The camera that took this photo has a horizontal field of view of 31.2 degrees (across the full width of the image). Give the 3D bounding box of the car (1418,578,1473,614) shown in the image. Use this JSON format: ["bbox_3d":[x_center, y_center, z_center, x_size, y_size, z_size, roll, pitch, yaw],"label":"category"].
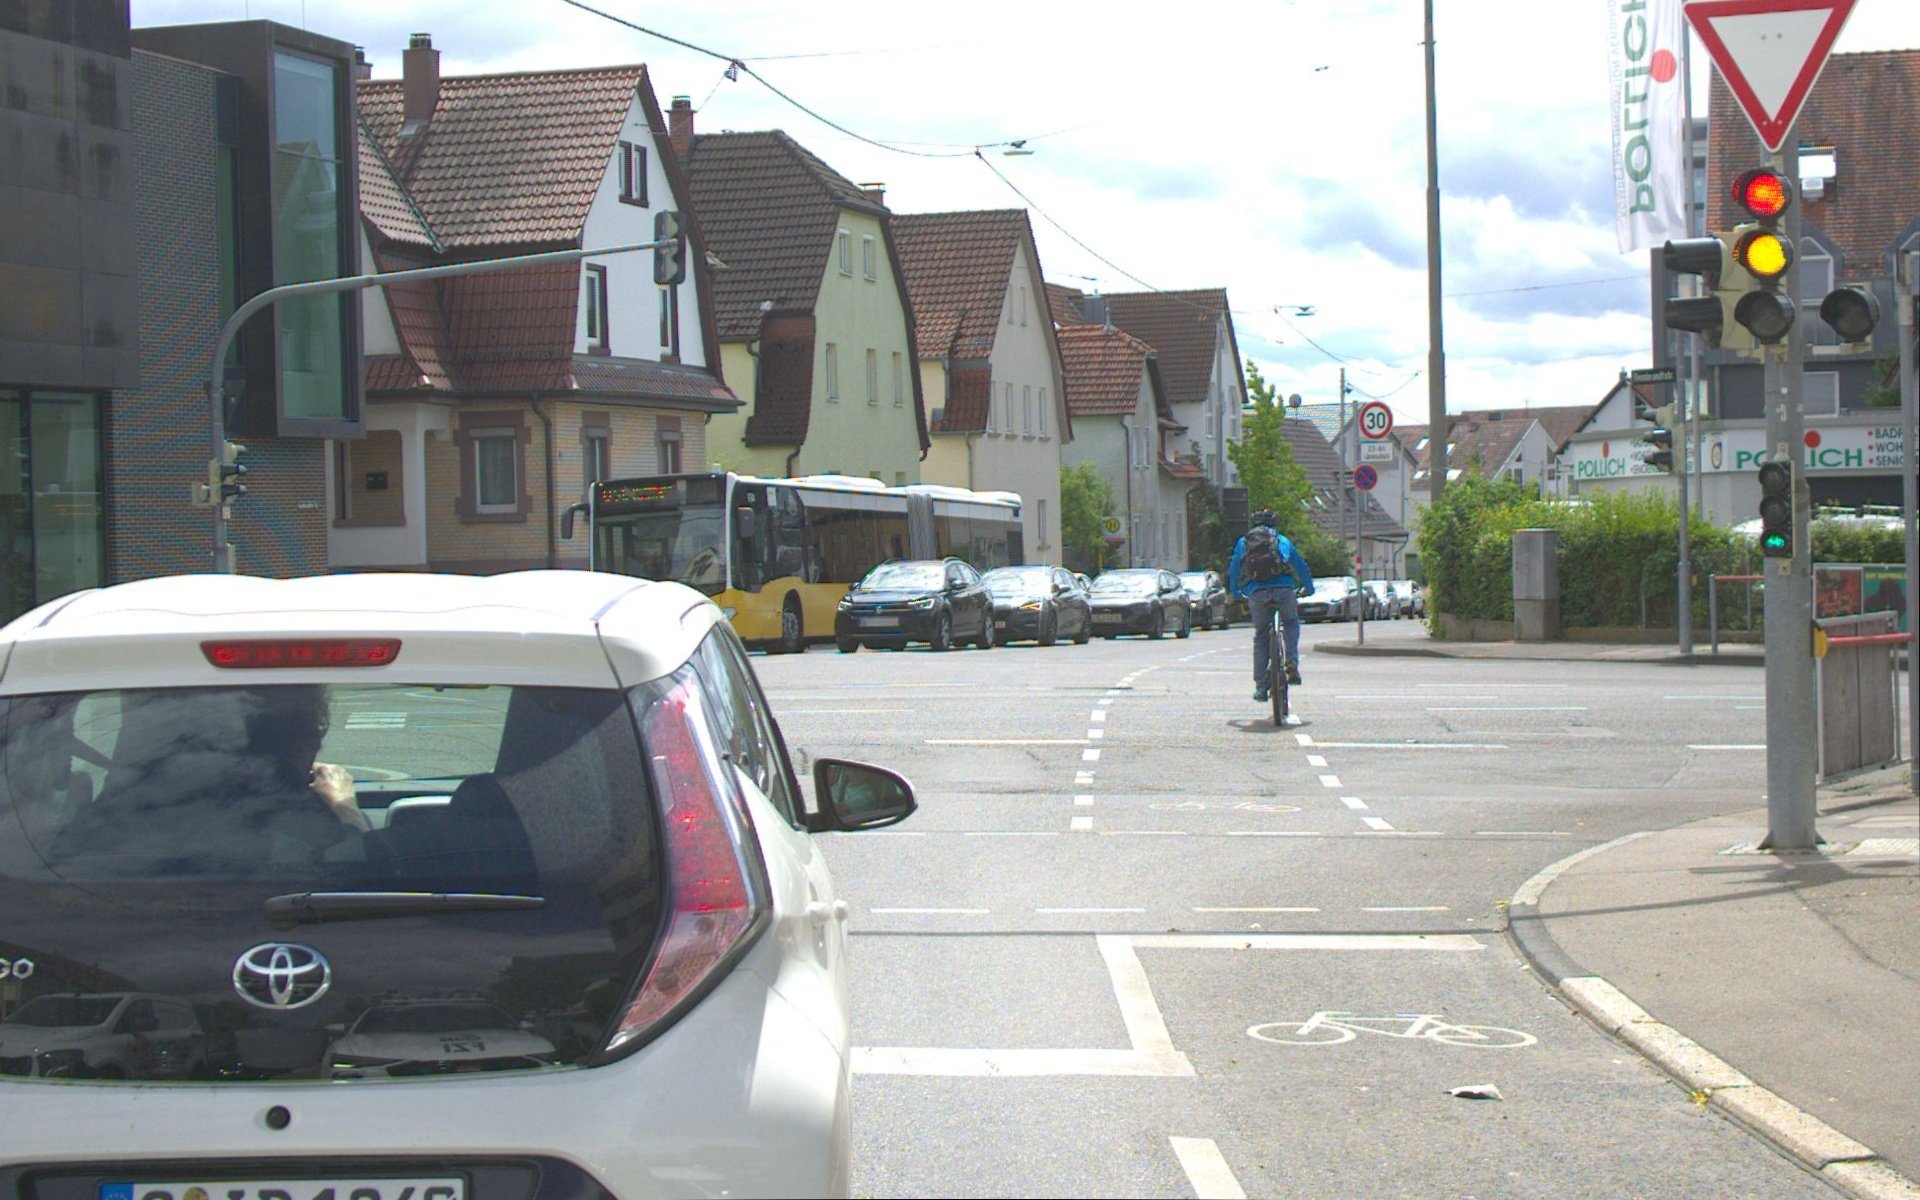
[{"bbox_3d":[22.949,-0.201,162.432,1.995,1.634,3.997,0,1,17],"label":"car"}]

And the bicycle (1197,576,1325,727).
[{"bbox_3d":[2.464,0.401,28.397,0.832,1.160,2.192,0,1,-1],"label":"bicycle"}]

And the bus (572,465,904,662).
[{"bbox_3d":[-3.545,-0.658,57.987,2.780,3.049,9.185,0,1,15],"label":"bus"}]

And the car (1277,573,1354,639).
[{"bbox_3d":[11.399,0.177,110.072,1.995,2.007,3.998,0,1,13],"label":"car"}]

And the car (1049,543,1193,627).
[{"bbox_3d":[3.304,-0.329,69.753,1.995,1.634,3.997,0,1,17],"label":"car"}]

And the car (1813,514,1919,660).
[{"bbox_3d":[13.946,-0.190,46.968,3.986,1.941,2.001,0,1,-9],"label":"car"}]

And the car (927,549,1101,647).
[{"bbox_3d":[0.994,-0.063,60.462,1.995,1.634,4.180,0,1,17],"label":"car"}]

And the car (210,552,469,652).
[{"bbox_3d":[-10.849,0.025,60.214,3.989,1.678,1.999,-1,1,14],"label":"car"}]

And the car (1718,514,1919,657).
[{"bbox_3d":[13.181,-0.230,49.434,3.986,2.007,2.001,0,1,-8],"label":"car"}]

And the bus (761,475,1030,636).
[{"bbox_3d":[-1.098,-0.894,66.942,2.780,2.904,9.185,0,1,15],"label":"bus"}]

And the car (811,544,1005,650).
[{"bbox_3d":[-0.791,-0.084,55.229,1.995,1.634,3.997,0,1,17],"label":"car"}]

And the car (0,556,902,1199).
[{"bbox_3d":[-1.032,0.663,6.410,1.738,1.455,3.533,0,1,-3],"label":"car"}]

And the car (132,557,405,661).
[{"bbox_3d":[-11.511,0.131,57.341,3.989,1.634,1.999,1,1,13],"label":"car"}]

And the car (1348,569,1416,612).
[{"bbox_3d":[16.647,-0.400,135.600,1.995,1.634,3.997,0,1,17],"label":"car"}]

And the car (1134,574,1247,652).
[{"bbox_3d":[6.189,0.321,91.770,1.995,2.007,3.996,0,1,20],"label":"car"}]

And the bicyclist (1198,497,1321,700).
[{"bbox_3d":[2.456,-0.021,28.313,0.840,1.609,1.083,2,1,-1],"label":"bicyclist"}]

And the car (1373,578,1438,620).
[{"bbox_3d":[18.321,-0.065,141.311,1.995,1.634,3.997,0,1,17],"label":"car"}]
